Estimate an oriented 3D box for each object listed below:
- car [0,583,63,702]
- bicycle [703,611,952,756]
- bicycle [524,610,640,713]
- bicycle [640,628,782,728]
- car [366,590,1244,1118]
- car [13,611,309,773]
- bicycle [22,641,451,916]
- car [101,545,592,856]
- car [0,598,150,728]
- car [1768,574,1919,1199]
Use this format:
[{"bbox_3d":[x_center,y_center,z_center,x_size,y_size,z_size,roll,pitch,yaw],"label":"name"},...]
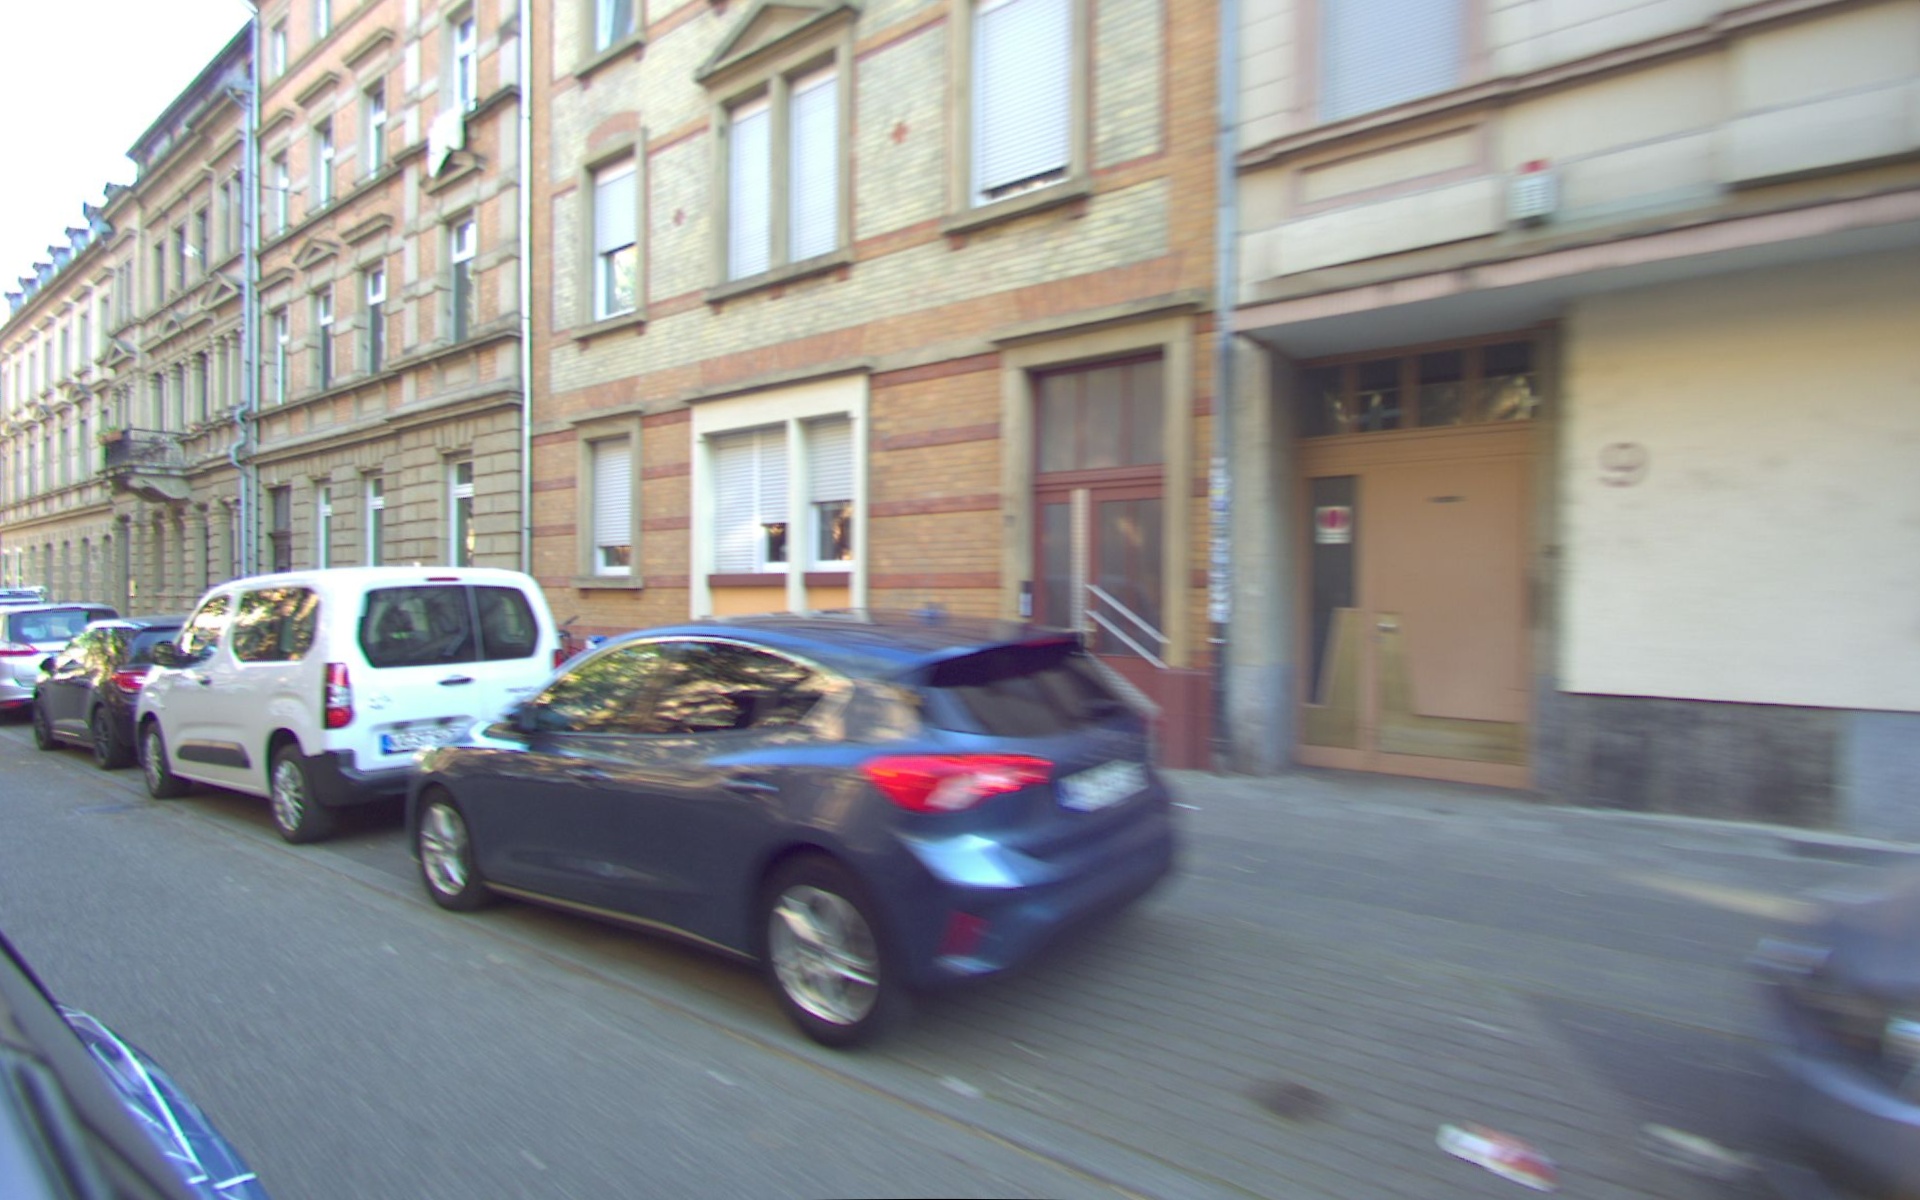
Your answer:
[{"bbox_3d":[-18.592,0.768,18.926,4.739,2.072,1.923,-1,0,39],"label":"car"},{"bbox_3d":[-1.372,0.767,10.049,2.661,1.290,0.623,-1,0,32],"label":"bicycle"},{"bbox_3d":[-5.005,0.777,13.353,1.906,1.267,0.489,-1,0,38],"label":"bicycle"},{"bbox_3d":[-2.873,0.855,11.573,1.906,1.031,0.489,-1,0,38],"label":"bicycle"},{"bbox_3d":[-1.014,0.732,4.844,4.238,1.484,1.730,-1,0,38],"label":"car"},{"bbox_3d":[-8.792,0.866,11.045,3.819,1.432,1.622,-1,0,37],"label":"car"},{"bbox_3d":[-4.206,0.944,6.065,0.499,1.288,2.017,-1,0,40],"label":"bicycle"},{"bbox_3d":[-5.098,0.606,8.139,4.600,1.847,1.825,-1,0,38],"label":"car"},{"bbox_3d":[-13.674,0.841,14.989,4.153,1.670,1.750,-1,0,39],"label":"car"},{"bbox_3d":[3.766,0.659,1.009,4.535,1.455,1.869,-1,0,37],"label":"car"}]
